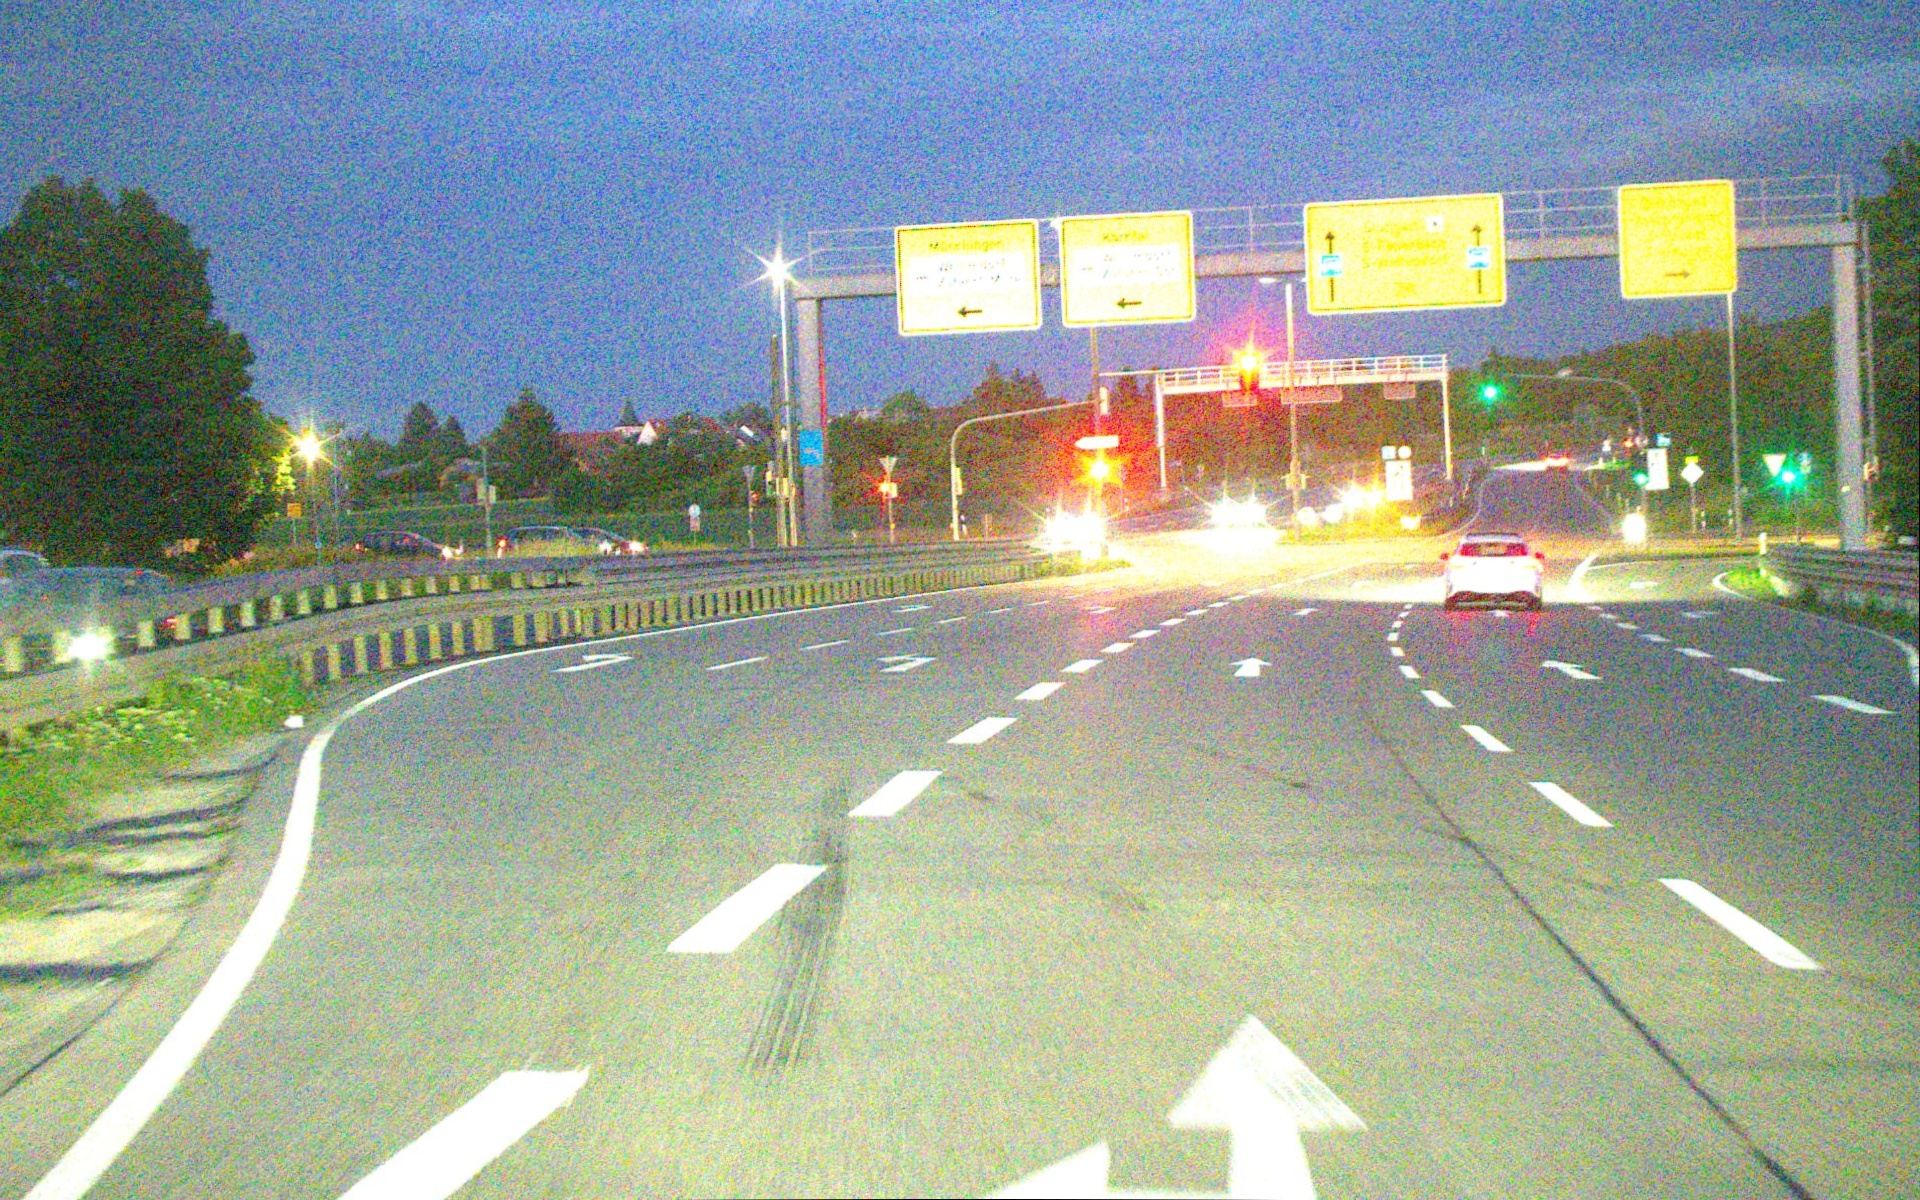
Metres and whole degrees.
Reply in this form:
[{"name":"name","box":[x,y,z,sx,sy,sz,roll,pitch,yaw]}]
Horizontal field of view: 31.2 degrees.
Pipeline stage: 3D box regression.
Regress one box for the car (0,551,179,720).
[{"name":"car","box":[-9.193,0.318,34.785,1.692,1.528,4.001,-1,2,-1]}]

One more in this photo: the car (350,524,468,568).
[{"name":"car","box":[-20.444,-2.002,127.600,3.988,1.468,1.729,-2,1,6]}]

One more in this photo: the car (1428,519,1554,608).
[{"name":"car","box":[9.988,-0.703,64.496,2.009,1.605,3.843,0,1,14]}]

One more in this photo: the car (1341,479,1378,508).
[{"name":"car","box":[24.676,-6.594,212.304,1.994,1.692,3.999,-1,2,11]}]

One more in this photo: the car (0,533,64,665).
[{"name":"car","box":[-12.709,-0.009,43.240,1.701,1.617,4.307,-1,1,1]}]

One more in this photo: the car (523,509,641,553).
[{"name":"car","box":[-14.245,-2.589,129.619,4.042,1.532,1.729,-1,1,9]}]

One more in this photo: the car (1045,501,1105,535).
[{"name":"car","box":[5.180,-3.694,154.482,1.994,1.420,4.530,-1,2,11]}]

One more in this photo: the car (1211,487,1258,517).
[{"name":"car","box":[14.527,-5.188,181.960,1.994,1.476,4.680,-1,2,11]}]
